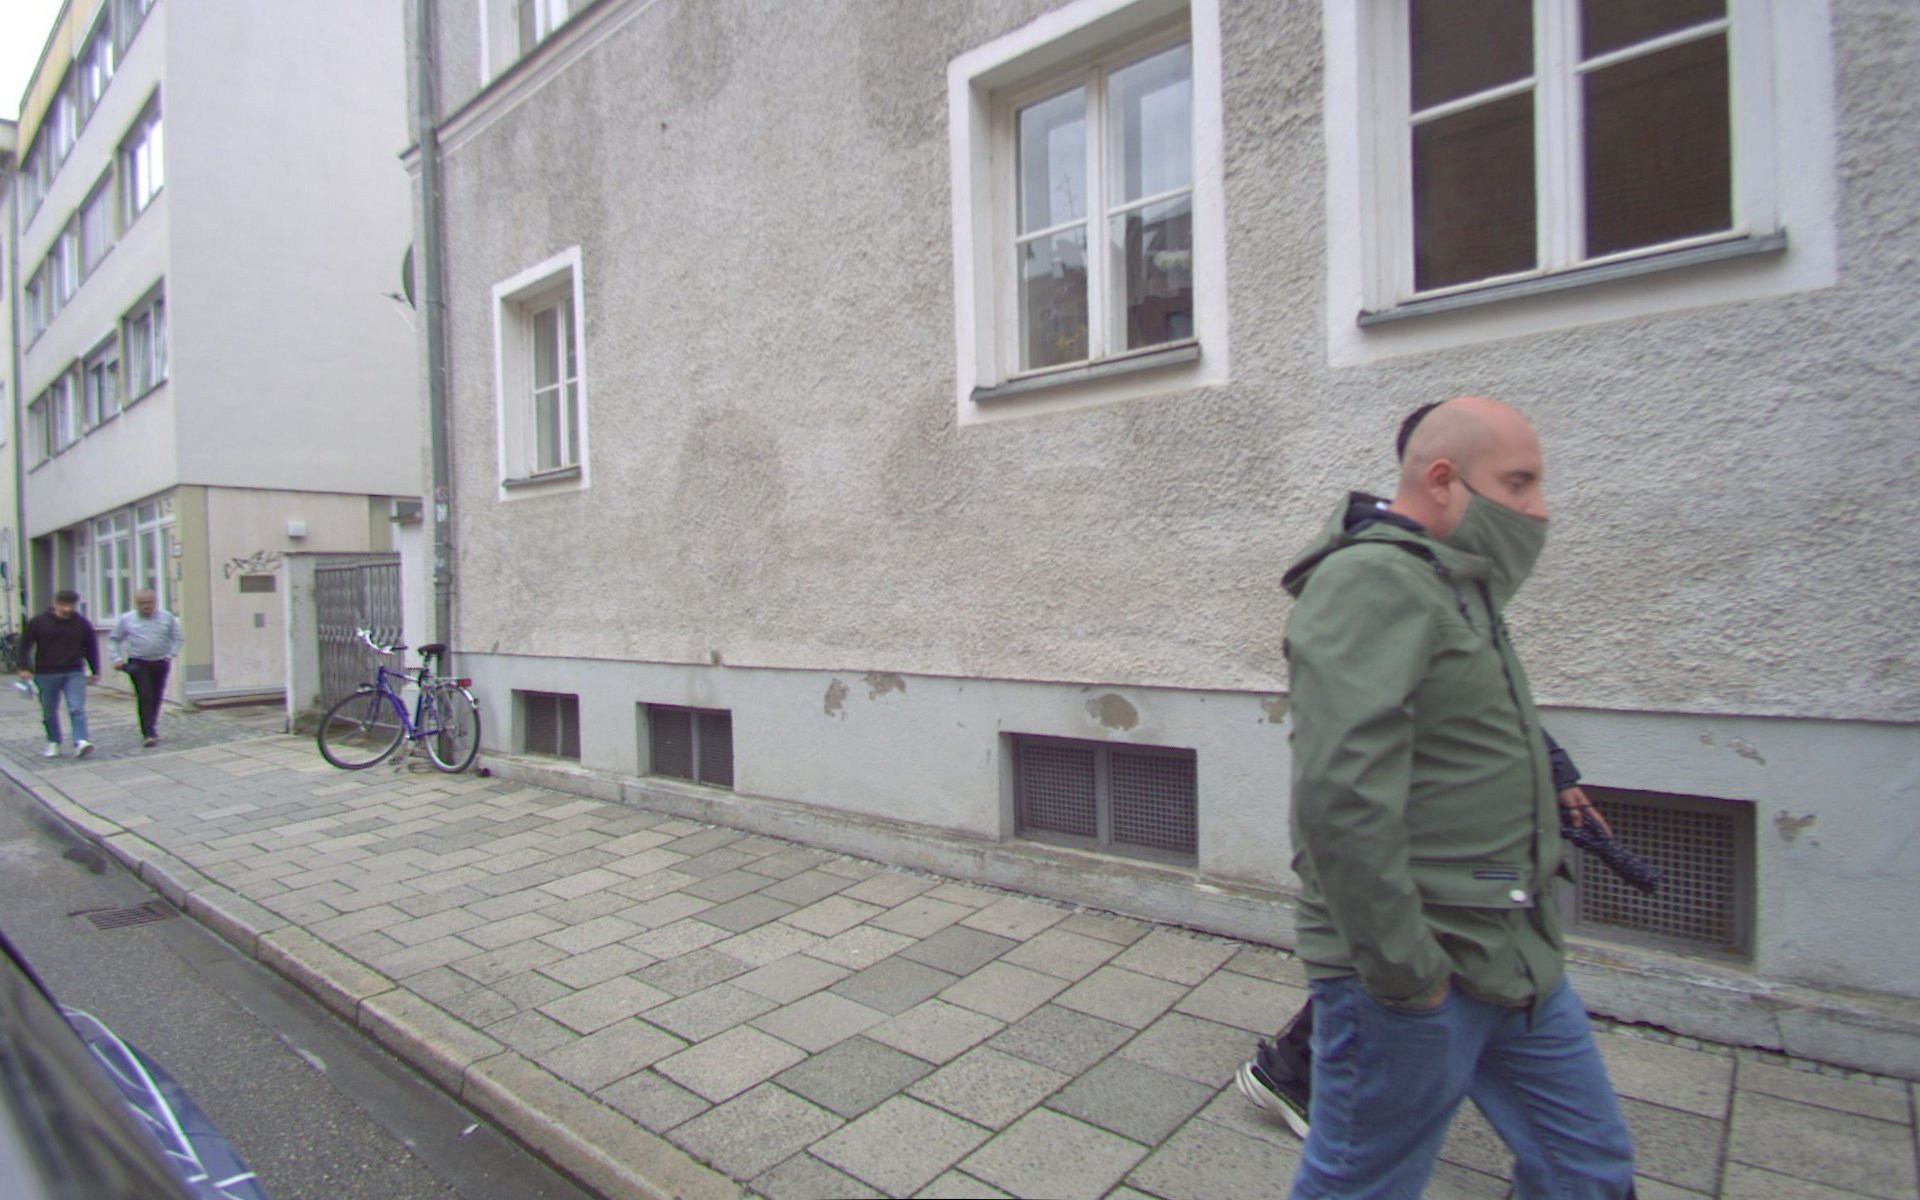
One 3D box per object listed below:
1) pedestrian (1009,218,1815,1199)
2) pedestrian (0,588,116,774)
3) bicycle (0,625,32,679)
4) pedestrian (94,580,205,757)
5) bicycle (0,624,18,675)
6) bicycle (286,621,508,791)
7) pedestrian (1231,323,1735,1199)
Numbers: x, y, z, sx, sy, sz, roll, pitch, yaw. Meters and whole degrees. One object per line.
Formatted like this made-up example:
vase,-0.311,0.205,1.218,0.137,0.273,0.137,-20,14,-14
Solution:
pedestrian,0.690,0.471,1.526,0.906,1.671,0.745,-1,3,41
pedestrian,-9.257,0.789,10.384,0.837,1.778,0.711,-1,2,41
bicycle,-21.941,1.180,23.231,1.717,1.168,0.557,-1,1,35
pedestrian,-8.838,0.707,11.035,0.916,1.810,0.711,-1,2,41
bicycle,-23.187,1.195,24.414,1.605,1.168,0.453,-1,3,42
bicycle,-4.453,0.789,8.003,1.653,1.227,0.639,-1,0,22
pedestrian,1.128,0.395,2.185,0.823,1.726,0.606,-1,3,40
